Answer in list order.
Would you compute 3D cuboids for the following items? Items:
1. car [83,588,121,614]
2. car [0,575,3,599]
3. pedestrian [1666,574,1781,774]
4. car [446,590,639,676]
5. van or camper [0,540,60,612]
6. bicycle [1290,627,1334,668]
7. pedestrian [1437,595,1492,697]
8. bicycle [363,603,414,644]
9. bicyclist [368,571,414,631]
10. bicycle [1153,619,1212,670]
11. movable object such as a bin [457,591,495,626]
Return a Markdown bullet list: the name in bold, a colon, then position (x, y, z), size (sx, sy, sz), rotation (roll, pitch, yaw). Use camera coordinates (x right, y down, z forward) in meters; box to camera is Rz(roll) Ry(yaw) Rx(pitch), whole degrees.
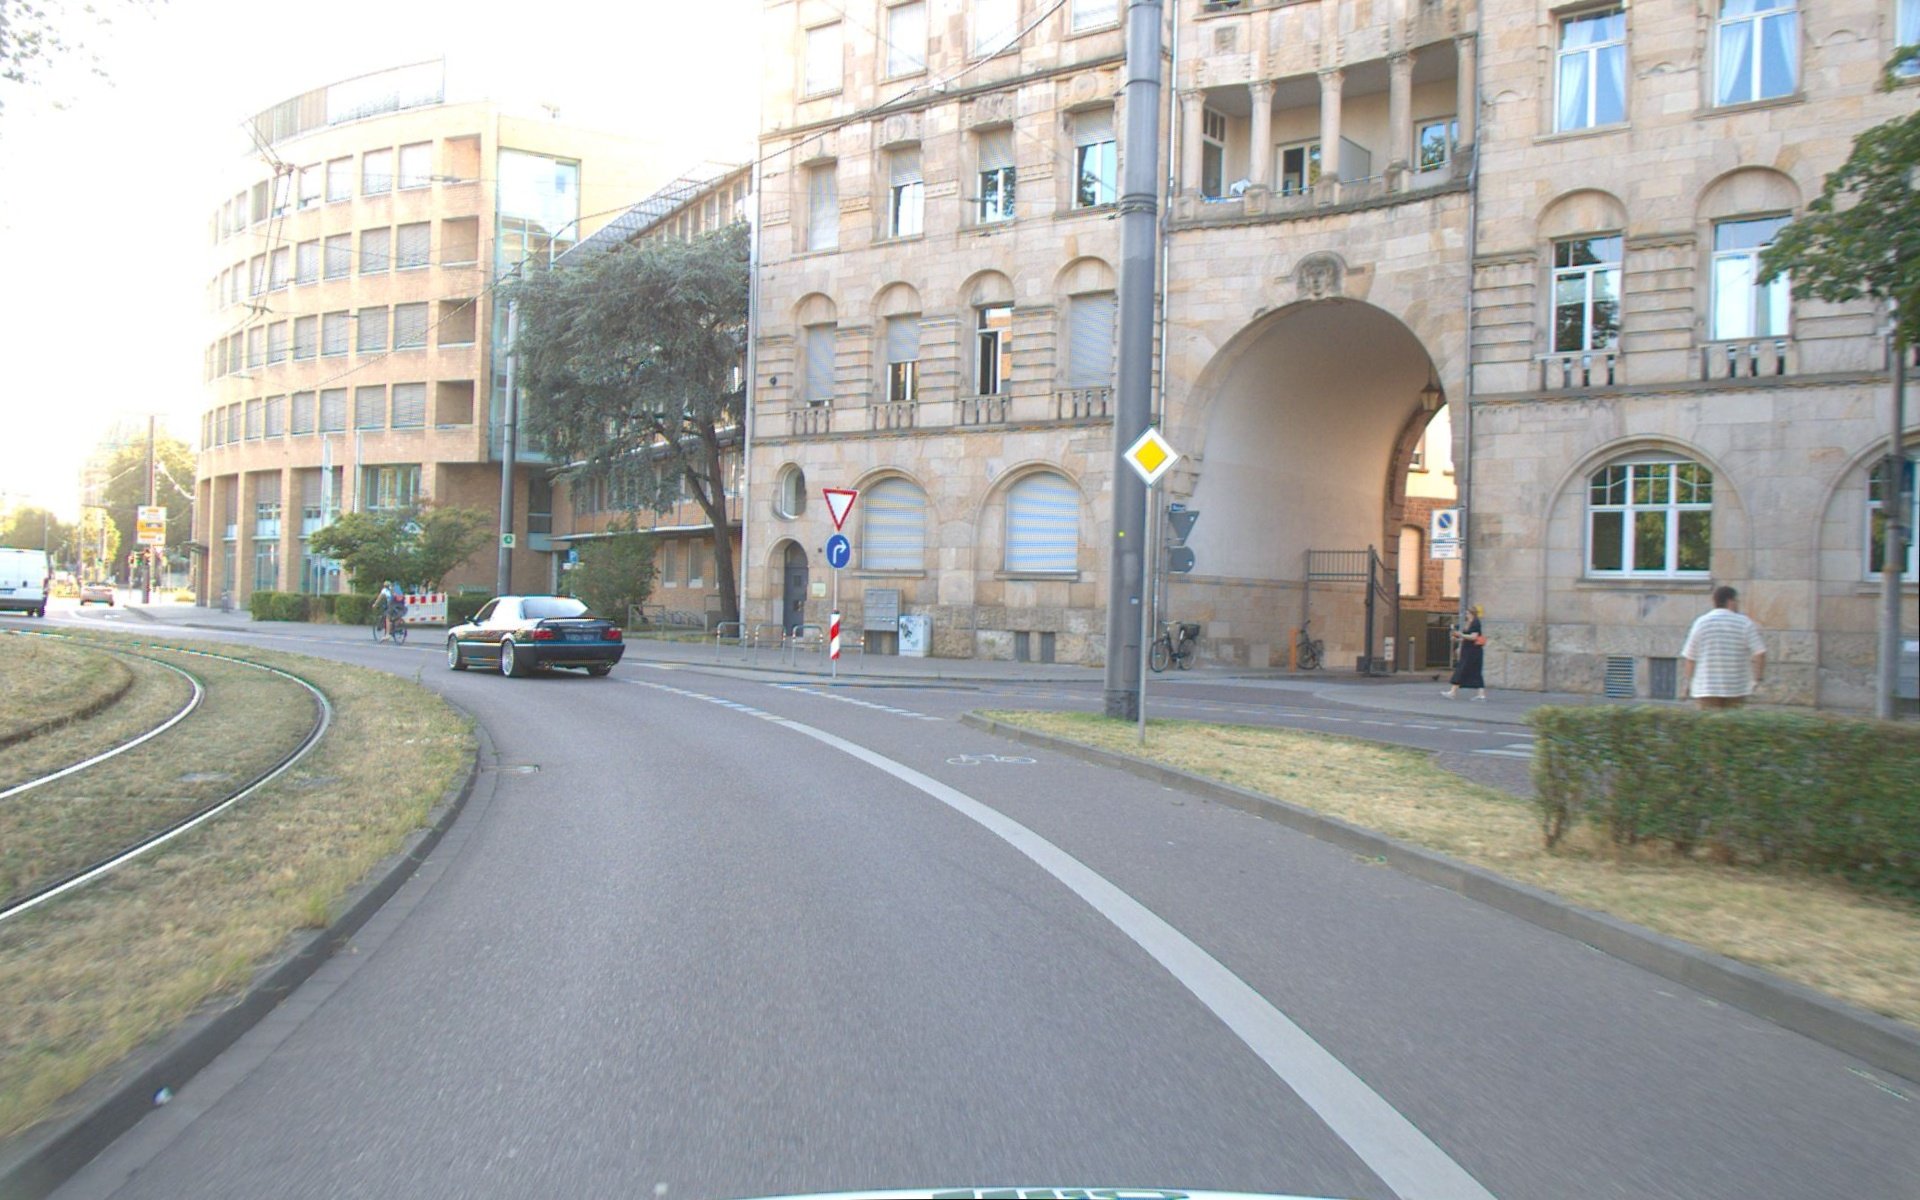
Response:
- **car**: position (-50.074, 0.061, 96.533), size (1.764, 1.378, 4.224), rotation (3, 0, -30)
- **car**: position (-69.221, -0.971, 117.692), size (1.778, 1.593, 3.955), rotation (1, 1, -33)
- **pedestrian**: position (7.238, 0.681, 15.690), size (0.807, 1.823, 0.588), rotation (2, 1, 42)
- **car**: position (-7.557, 0.609, 29.627), size (1.815, 1.378, 4.583), rotation (3, -3, -35)
- **van or camper**: position (-36.453, -0.980, 64.516), size (2.237, 2.670, 4.461), rotation (1, 1, -28)
- **bicycle**: position (8.854, 1.189, 41.558), size (0.472, 0.972, 1.506), rotation (2, 1, 37)
- **pedestrian**: position (8.860, 0.790, 29.029), size (0.709, 1.739, 0.574), rotation (2, 1, 43)
- **bicycle**: position (-14.909, 0.605, 43.143), size (0.513, 0.971, 1.746), rotation (4, -1, -45)
- **bicyclist**: position (-14.792, 0.033, 42.986), size (1.019, 1.509, 0.653), rotation (1, -2, 42)
- **bicycle**: position (4.976, 0.983, 36.896), size (0.421, 1.091, 1.848), rotation (2, 1, 37)
- **movable object such as a bin**: position (-20.560, 0.377, 70.262), size (1.330, 1.449, 0.912), rotation (1, 1, -37)
